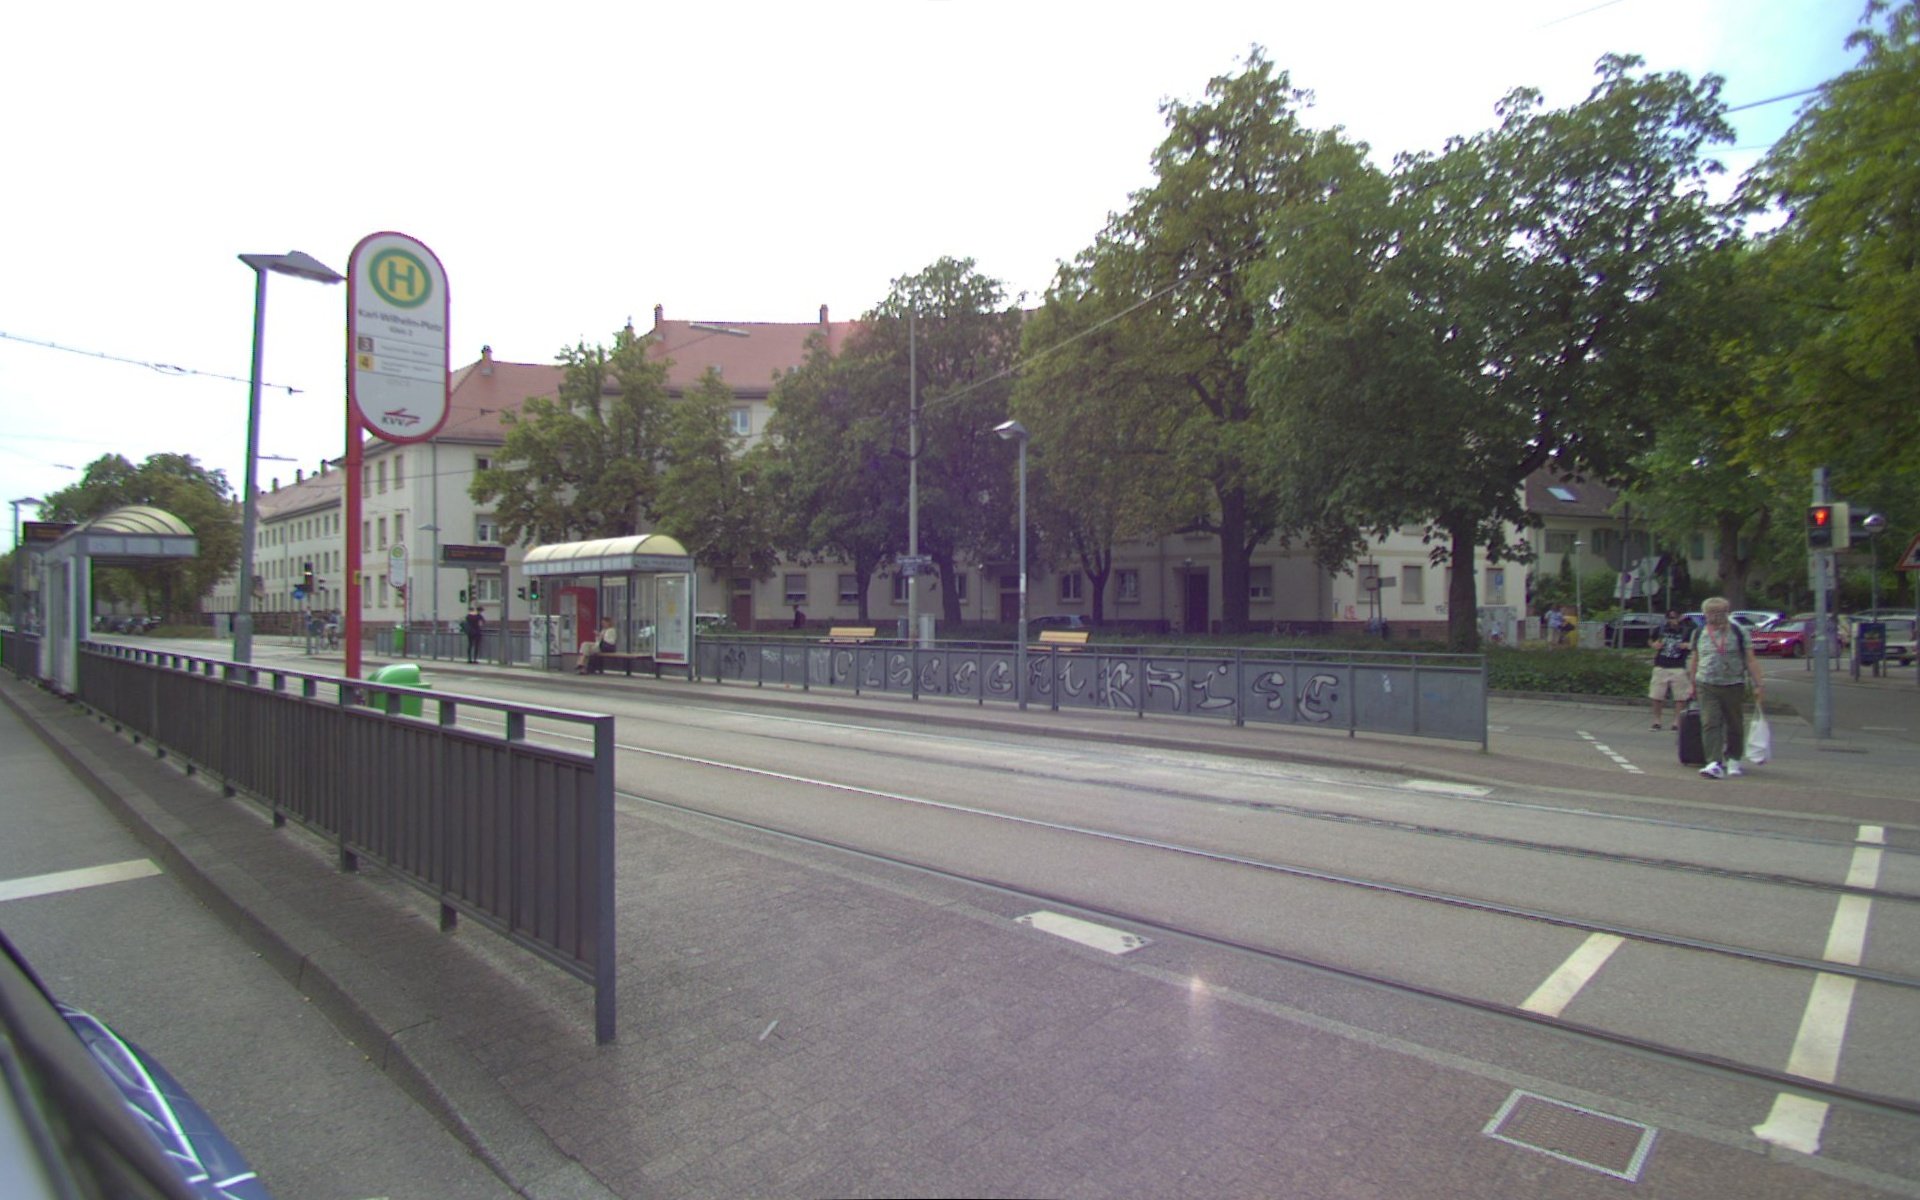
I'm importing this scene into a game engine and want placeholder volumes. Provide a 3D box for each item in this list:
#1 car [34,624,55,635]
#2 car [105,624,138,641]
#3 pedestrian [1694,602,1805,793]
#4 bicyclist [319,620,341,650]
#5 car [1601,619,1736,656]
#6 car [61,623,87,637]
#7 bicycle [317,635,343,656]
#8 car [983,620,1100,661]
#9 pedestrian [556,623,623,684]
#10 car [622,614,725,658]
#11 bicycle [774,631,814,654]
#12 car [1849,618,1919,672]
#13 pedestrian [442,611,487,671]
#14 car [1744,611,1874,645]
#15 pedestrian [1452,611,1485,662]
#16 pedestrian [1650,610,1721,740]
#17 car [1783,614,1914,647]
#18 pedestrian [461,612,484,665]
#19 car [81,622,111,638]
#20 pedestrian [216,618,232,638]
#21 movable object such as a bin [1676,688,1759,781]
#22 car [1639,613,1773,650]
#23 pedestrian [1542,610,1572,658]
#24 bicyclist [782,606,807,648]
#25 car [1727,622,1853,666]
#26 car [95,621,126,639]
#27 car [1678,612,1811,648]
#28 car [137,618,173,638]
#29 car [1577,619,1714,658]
[{"bbox_3d":[-126.699,4.083,140.085,4.298,1.482,1.709,-1,-2,42],"label":"car"},{"bbox_3d":[-71.208,2.740,85.912,4.301,1.434,1.678,-1,-1,44],"label":"car"},{"bbox_3d":[7.256,0.852,9.319,0.744,1.645,0.860,-1,-2,39],"label":"pedestrian"},{"bbox_3d":[-29.075,1.596,46.687,0.836,1.349,0.653,-1,-2,44],"label":"bicyclist"},{"bbox_3d":[28.025,1.447,40.184,1.784,1.406,4.013,1,-1,-24],"label":"car"},{"bbox_3d":[-99.884,3.376,114.089,4.298,1.481,1.679,-1,-1,42],"label":"car"},{"bbox_3d":[-29.076,2.092,46.672,1.550,0.956,0.653,-1,-2,44],"label":"bicycle"},{"bbox_3d":[3.327,1.619,41.221,4.319,1.590,2.195,-1,-1,23],"label":"car"},{"bbox_3d":[-8.296,1.178,22.685,0.985,1.303,1.048,-1,-2,39],"label":"pedestrian"},{"bbox_3d":[-12.539,1.559,44.502,4.095,1.734,1.844,2,0,-6],"label":"car"},{"bbox_3d":[-7.073,1.799,43.170,1.562,0.944,0.605,0,-2,17],"label":"bicycle"},{"bbox_3d":[28.151,1.274,29.506,3.930,1.489,1.821,1,-1,-23],"label":"car"},{"bbox_3d":[-13.863,1.141,28.330,0.842,1.633,0.843,-1,-2,39],"label":"pedestrian"},{"bbox_3d":[37.347,1.228,44.645,1.784,1.406,4.013,1,-1,-24],"label":"car"},{"bbox_3d":[17.907,1.285,35.647,0.740,1.767,0.735,1,-2,-28],"label":"pedestrian"},{"bbox_3d":[9.950,0.996,13.873,0.732,1.716,0.824,-1,-2,39],"label":"pedestrian"},{"bbox_3d":[39.831,1.363,45.475,1.784,1.406,4.013,1,-1,-24],"label":"car"},{"bbox_3d":[-18.059,1.413,37.482,0.720,1.915,0.838,1,-2,-28],"label":"pedestrian"},{"bbox_3d":[-85.941,2.984,100.652,4.298,1.482,1.679,-1,-2,42],"label":"car"},{"bbox_3d":[-56.637,2.164,77.923,0.732,1.524,0.824,-1,-2,39],"label":"pedestrian"},{"bbox_3d":[7.395,1.291,9.877,0.621,0.805,0.721,-1,-2,39],"label":"movable object such as a bin"},{"bbox_3d":[30.378,1.254,41.331,1.784,1.406,4.013,1,-1,-24],"label":"car"},{"bbox_3d":[22.474,1.267,38.102,0.720,1.767,0.685,1,-2,-25],"label":"pedestrian"},{"bbox_3d":[-7.061,1.138,43.186,0.903,1.789,0.609,-1,-2,16],"label":"bicyclist"},{"bbox_3d":[29.163,1.509,35.568,3.930,1.489,1.821,1,-1,-23],"label":"car"},{"bbox_3d":[-79.276,2.768,94.403,4.301,1.624,1.765,-1,-2,44],"label":"car"},{"bbox_3d":[32.727,1.241,42.324,1.784,1.406,4.013,1,-1,-24],"label":"car"},{"bbox_3d":[-64.536,2.238,81.108,4.301,1.434,1.678,-1,1,44],"label":"car"},{"bbox_3d":[26.139,1.448,38.743,1.784,1.406,4.013,1,-1,-24],"label":"car"}]
